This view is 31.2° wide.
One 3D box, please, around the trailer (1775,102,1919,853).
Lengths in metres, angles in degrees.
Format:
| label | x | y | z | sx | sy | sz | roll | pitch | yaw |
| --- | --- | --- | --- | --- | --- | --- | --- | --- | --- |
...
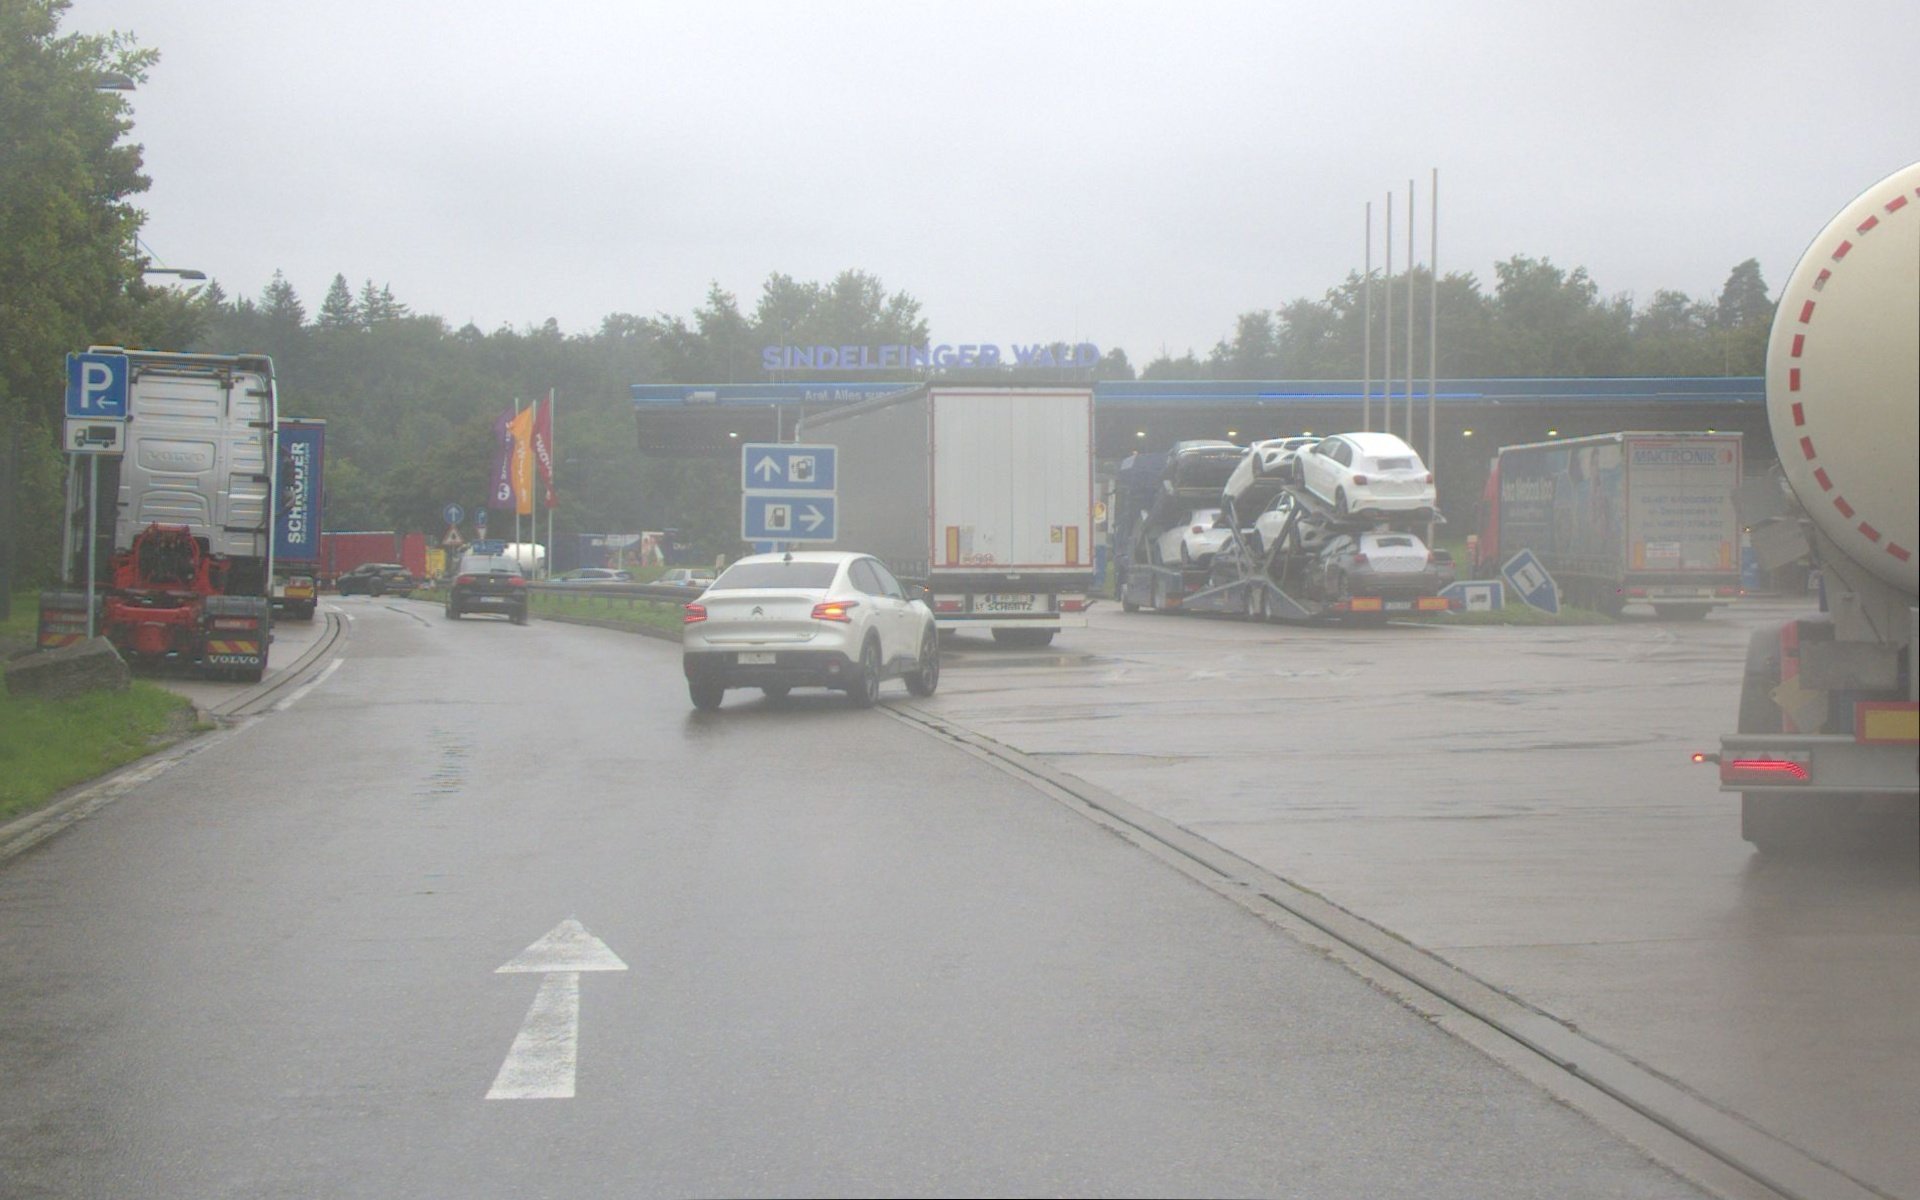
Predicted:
| label | x | y | z | sx | sy | sz | roll | pitch | yaw |
| --- | --- | --- | --- | --- | --- | --- | --- | --- | --- |
| trailer | 6.200 | -0.559 | 19.442 | 1.982 | 3.213 | 10.311 | 1 | 1 | 19 |

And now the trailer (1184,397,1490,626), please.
| label | x | y | z | sx | sy | sz | roll | pitch | yaw |
| --- | --- | --- | --- | --- | --- | --- | --- | --- | --- |
| trailer | 7.360 | -1.753 | 69.296 | 3.215 | 4.174 | 11.532 | 1 | 1 | -9 |

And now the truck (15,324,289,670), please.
| label | x | y | z | sx | sy | sz | roll | pitch | yaw |
| --- | --- | --- | --- | --- | --- | --- | --- | --- | --- |
| truck | -9.744 | -1.205 | 42.022 | 2.914 | 3.891 | 6.318 | 0 | 1 | -10 |

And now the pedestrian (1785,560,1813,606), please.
| label | x | y | z | sx | sy | sz | roll | pitch | yaw |
| --- | --- | --- | --- | --- | --- | --- | --- | --- | --- |
| pedestrian | 28.573 | -0.586 | 117.083 | 0.719 | 1.516 | 0.742 | 2 | -2 | 23 |

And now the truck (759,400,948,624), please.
| label | x | y | z | sx | sy | sz | roll | pitch | yaw |
| --- | --- | --- | --- | --- | --- | --- | --- | --- | --- |
| truck | -2.032 | -1.590 | 62.895 | 2.370 | 3.861 | 7.014 | 0 | 1 | -11 |

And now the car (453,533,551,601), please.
| label | x | y | z | sx | sy | sz | roll | pitch | yaw |
| --- | --- | --- | --- | --- | --- | --- | --- | --- | --- |
| car | -10.259 | -0.729 | 77.207 | 1.878 | 1.456 | 4.001 | 1 | 0 | -4 |

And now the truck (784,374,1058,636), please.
| label | x | y | z | sx | sy | sz | roll | pitch | yaw |
| --- | --- | --- | --- | --- | --- | --- | --- | --- | --- |
| truck | -0.877 | -1.520 | 56.920 | 2.370 | 3.861 | 12.458 | 0 | 1 | -11 |

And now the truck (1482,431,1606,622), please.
| label | x | y | z | sx | sy | sz | roll | pitch | yaw |
| --- | --- | --- | --- | --- | --- | --- | --- | --- | --- |
| truck | 14.322 | -1.777 | 84.555 | 1.988 | 4.534 | 4.796 | 1 | 0 | -3 |

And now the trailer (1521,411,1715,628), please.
| label | x | y | z | sx | sy | sz | roll | pitch | yaw |
| --- | --- | --- | --- | --- | --- | --- | --- | --- | --- |
| trailer | 14.657 | -1.719 | 77.246 | 1.993 | 4.544 | 9.810 | 1 | 0 | -3 |

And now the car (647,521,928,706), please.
| label | x | y | z | sx | sy | sz | roll | pitch | yaw |
| --- | --- | --- | --- | --- | --- | --- | --- | --- | --- |
| car | -1.624 | 0.078 | 33.821 | 1.994 | 1.673 | 3.999 | 1 | 2 | 8 |

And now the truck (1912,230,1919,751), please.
| label | x | y | z | sx | sy | sz | roll | pitch | yaw |
| --- | --- | --- | --- | --- | --- | --- | --- | --- | --- |
| truck | 8.217 | -0.744 | 25.136 | 2.055 | 3.519 | 4.741 | 1 | 1 | 19 |

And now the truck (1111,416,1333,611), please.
| label | x | y | z | sx | sy | sz | roll | pitch | yaw |
| --- | --- | --- | --- | --- | --- | --- | --- | --- | --- |
| truck | 5.905 | -1.967 | 79.172 | 3.233 | 4.174 | 8.446 | 1 | 1 | -8 |

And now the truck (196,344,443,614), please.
| label | x | y | z | sx | sy | sz | roll | pitch | yaw |
| --- | --- | --- | --- | --- | --- | --- | --- | --- | --- |
| truck | -13.853 | -2.484 | 73.558 | 4.790 | 5.287 | 11.073 | 0 | 1 | -12 |
